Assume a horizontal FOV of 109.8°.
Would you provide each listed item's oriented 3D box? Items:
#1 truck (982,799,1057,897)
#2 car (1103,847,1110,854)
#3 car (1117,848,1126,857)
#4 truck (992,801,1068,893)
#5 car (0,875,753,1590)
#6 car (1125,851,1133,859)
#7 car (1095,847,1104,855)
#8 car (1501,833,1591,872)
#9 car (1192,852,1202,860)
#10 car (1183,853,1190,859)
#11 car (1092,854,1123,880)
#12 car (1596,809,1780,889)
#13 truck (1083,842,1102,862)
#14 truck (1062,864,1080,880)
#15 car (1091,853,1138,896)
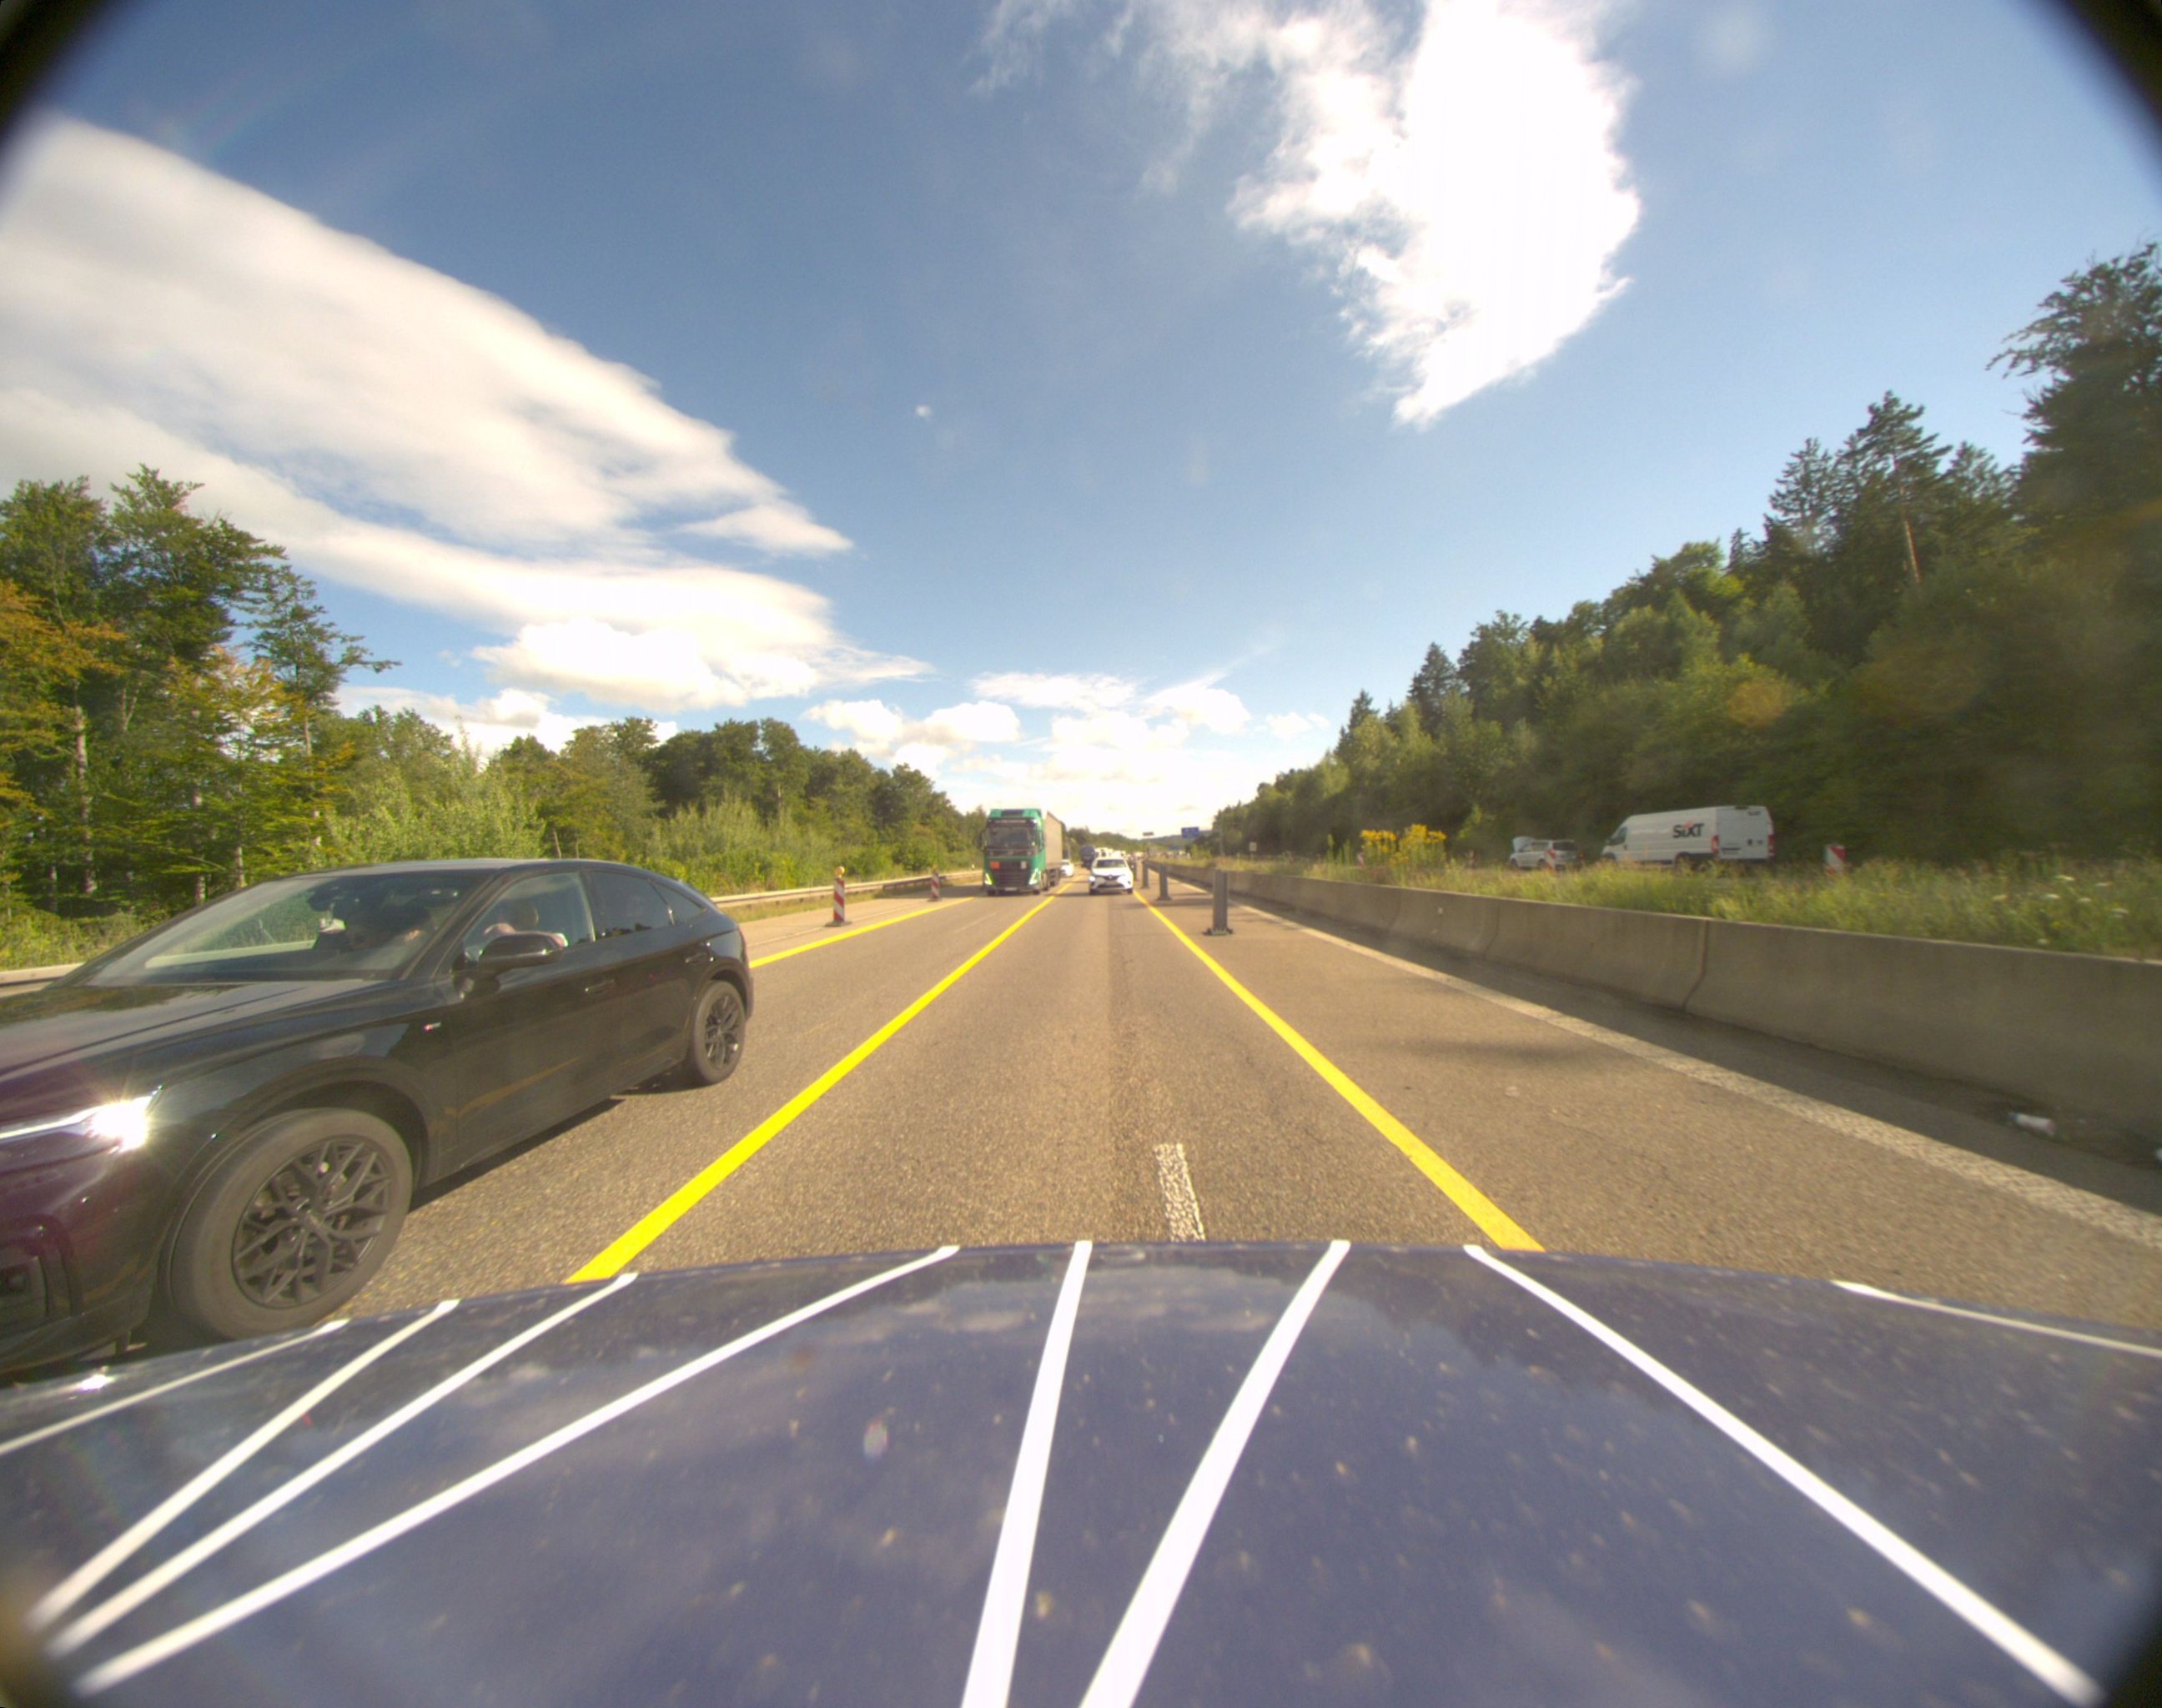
[{"bbox_3d":[-2.722,-0.292,35.726,2.527,4.075,6.857,-2,1,2],"label":"truck"},{"bbox_3d":[6.187,-0.870,185.783,1.750,1.787,4.000,-2,0,2],"label":"car"},{"bbox_3d":[9.221,-0.362,172.426,1.998,2.002,4.000,-2,1,2],"label":"car"},{"bbox_3d":[-2.453,-0.287,41.857,2.470,4.119,14.213,-2,0,2],"label":"truck"},{"bbox_3d":[-3.498,1.007,3.707,1.782,1.593,4.294,-2,0,1],"label":"car"},{"bbox_3d":[12.910,0.154,202.372,1.998,2.002,4.001,-2,1,4],"label":"car"},{"bbox_3d":[3.925,-0.642,163.071,1.750,1.787,4.000,-2,0,2],"label":"car"},{"bbox_3d":[23.955,-0.105,39.396,1.865,1.843,4.762,-2,0,2],"label":"car"},{"bbox_3d":[28.917,0.430,189.266,1.782,1.775,4.365,-2,0,2],"label":"car"},{"bbox_3d":[32.420,0.483,233.574,1.782,1.775,4.365,-2,0,2],"label":"car"},{"bbox_3d":[1.690,0.765,47.960,1.782,1.468,4.018,-2,0,2],"label":"car"},{"bbox_3d":[22.933,-0.200,29.212,2.033,2.669,6.523,-2,0,2],"label":"car"},{"bbox_3d":[1.990,-0.329,130.224,2.576,3.167,6.804,-2,1,5],"label":"truck"},{"bbox_3d":[-0.839,1.480,64.764,1.467,1.215,3.087,-2,0,0],"label":"truck"},{"bbox_3d":[1.394,0.815,31.776,1.782,1.593,4.018,-2,0,2],"label":"car"}]
